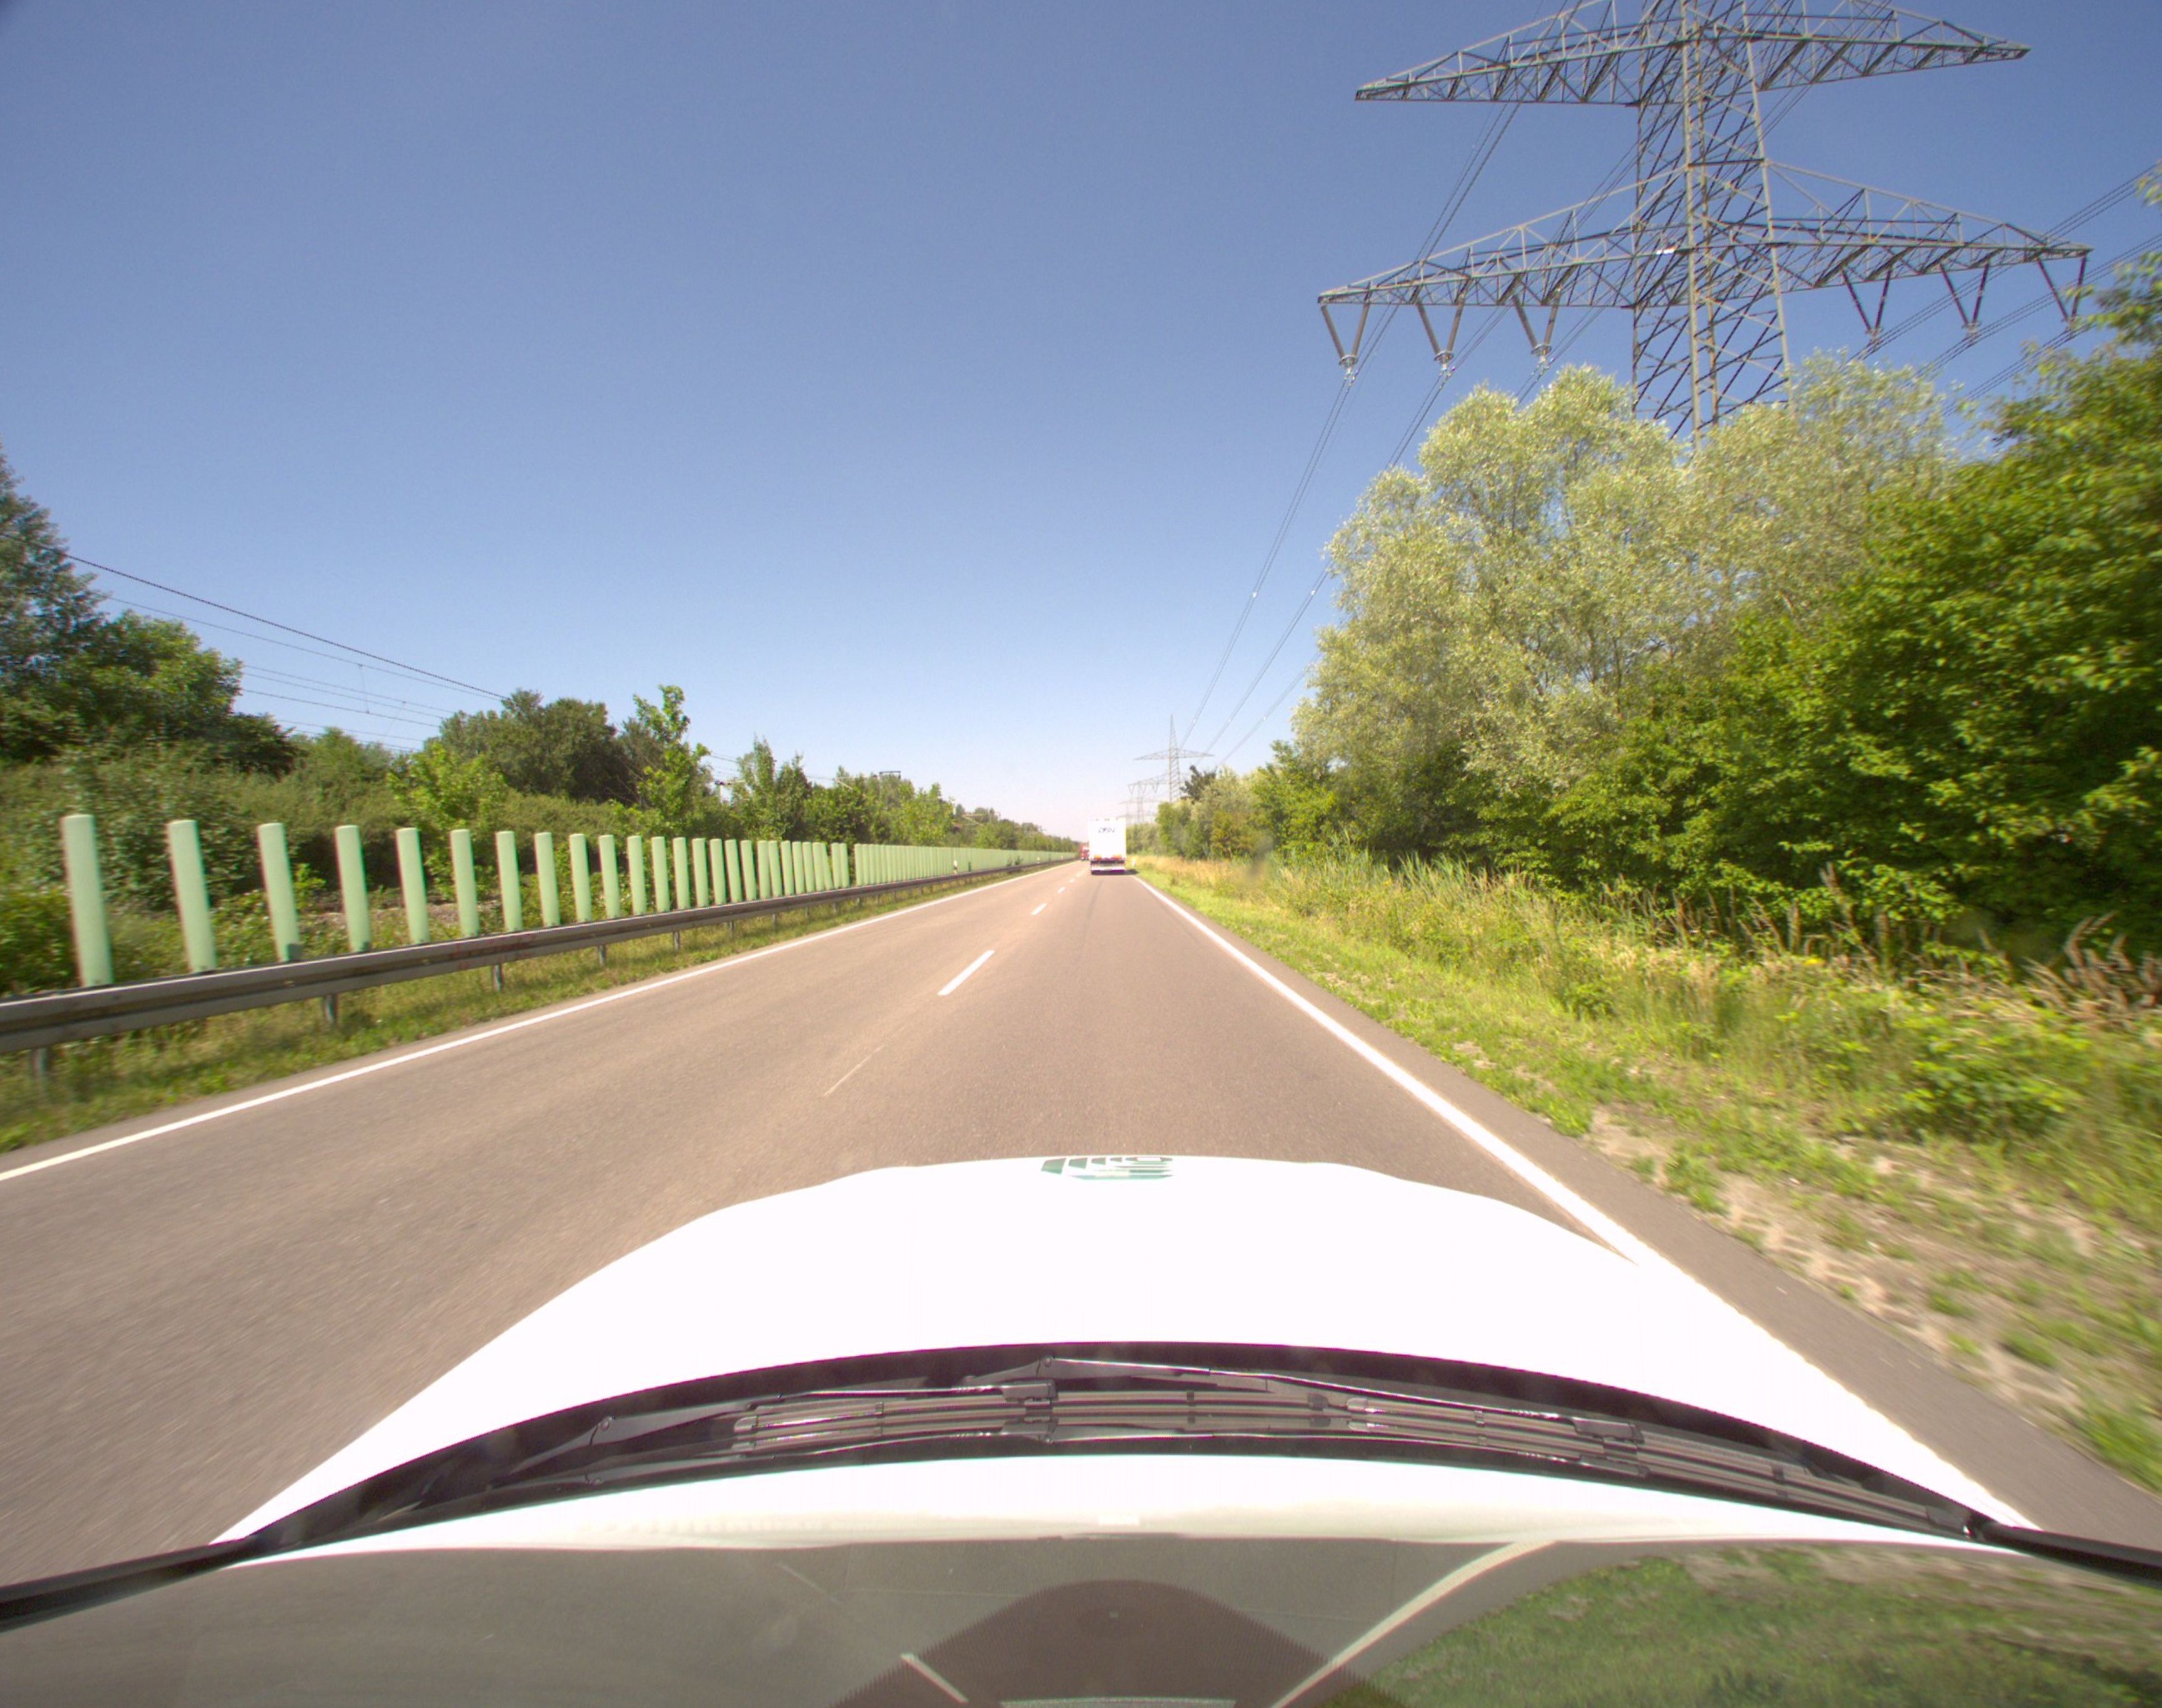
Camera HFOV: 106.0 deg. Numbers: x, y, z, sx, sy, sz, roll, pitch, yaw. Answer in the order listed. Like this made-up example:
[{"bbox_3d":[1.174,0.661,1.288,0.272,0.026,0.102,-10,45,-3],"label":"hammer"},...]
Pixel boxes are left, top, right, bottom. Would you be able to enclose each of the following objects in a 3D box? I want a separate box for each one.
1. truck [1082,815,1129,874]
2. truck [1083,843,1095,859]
[{"bbox_3d":[1.816,-0.677,62.667,3.181,4.042,12.009,-2,0,1],"label":"truck"},{"bbox_3d":[1.884,-0.667,192.515,2.724,3.599,9.528,-2,0,1],"label":"truck"}]
